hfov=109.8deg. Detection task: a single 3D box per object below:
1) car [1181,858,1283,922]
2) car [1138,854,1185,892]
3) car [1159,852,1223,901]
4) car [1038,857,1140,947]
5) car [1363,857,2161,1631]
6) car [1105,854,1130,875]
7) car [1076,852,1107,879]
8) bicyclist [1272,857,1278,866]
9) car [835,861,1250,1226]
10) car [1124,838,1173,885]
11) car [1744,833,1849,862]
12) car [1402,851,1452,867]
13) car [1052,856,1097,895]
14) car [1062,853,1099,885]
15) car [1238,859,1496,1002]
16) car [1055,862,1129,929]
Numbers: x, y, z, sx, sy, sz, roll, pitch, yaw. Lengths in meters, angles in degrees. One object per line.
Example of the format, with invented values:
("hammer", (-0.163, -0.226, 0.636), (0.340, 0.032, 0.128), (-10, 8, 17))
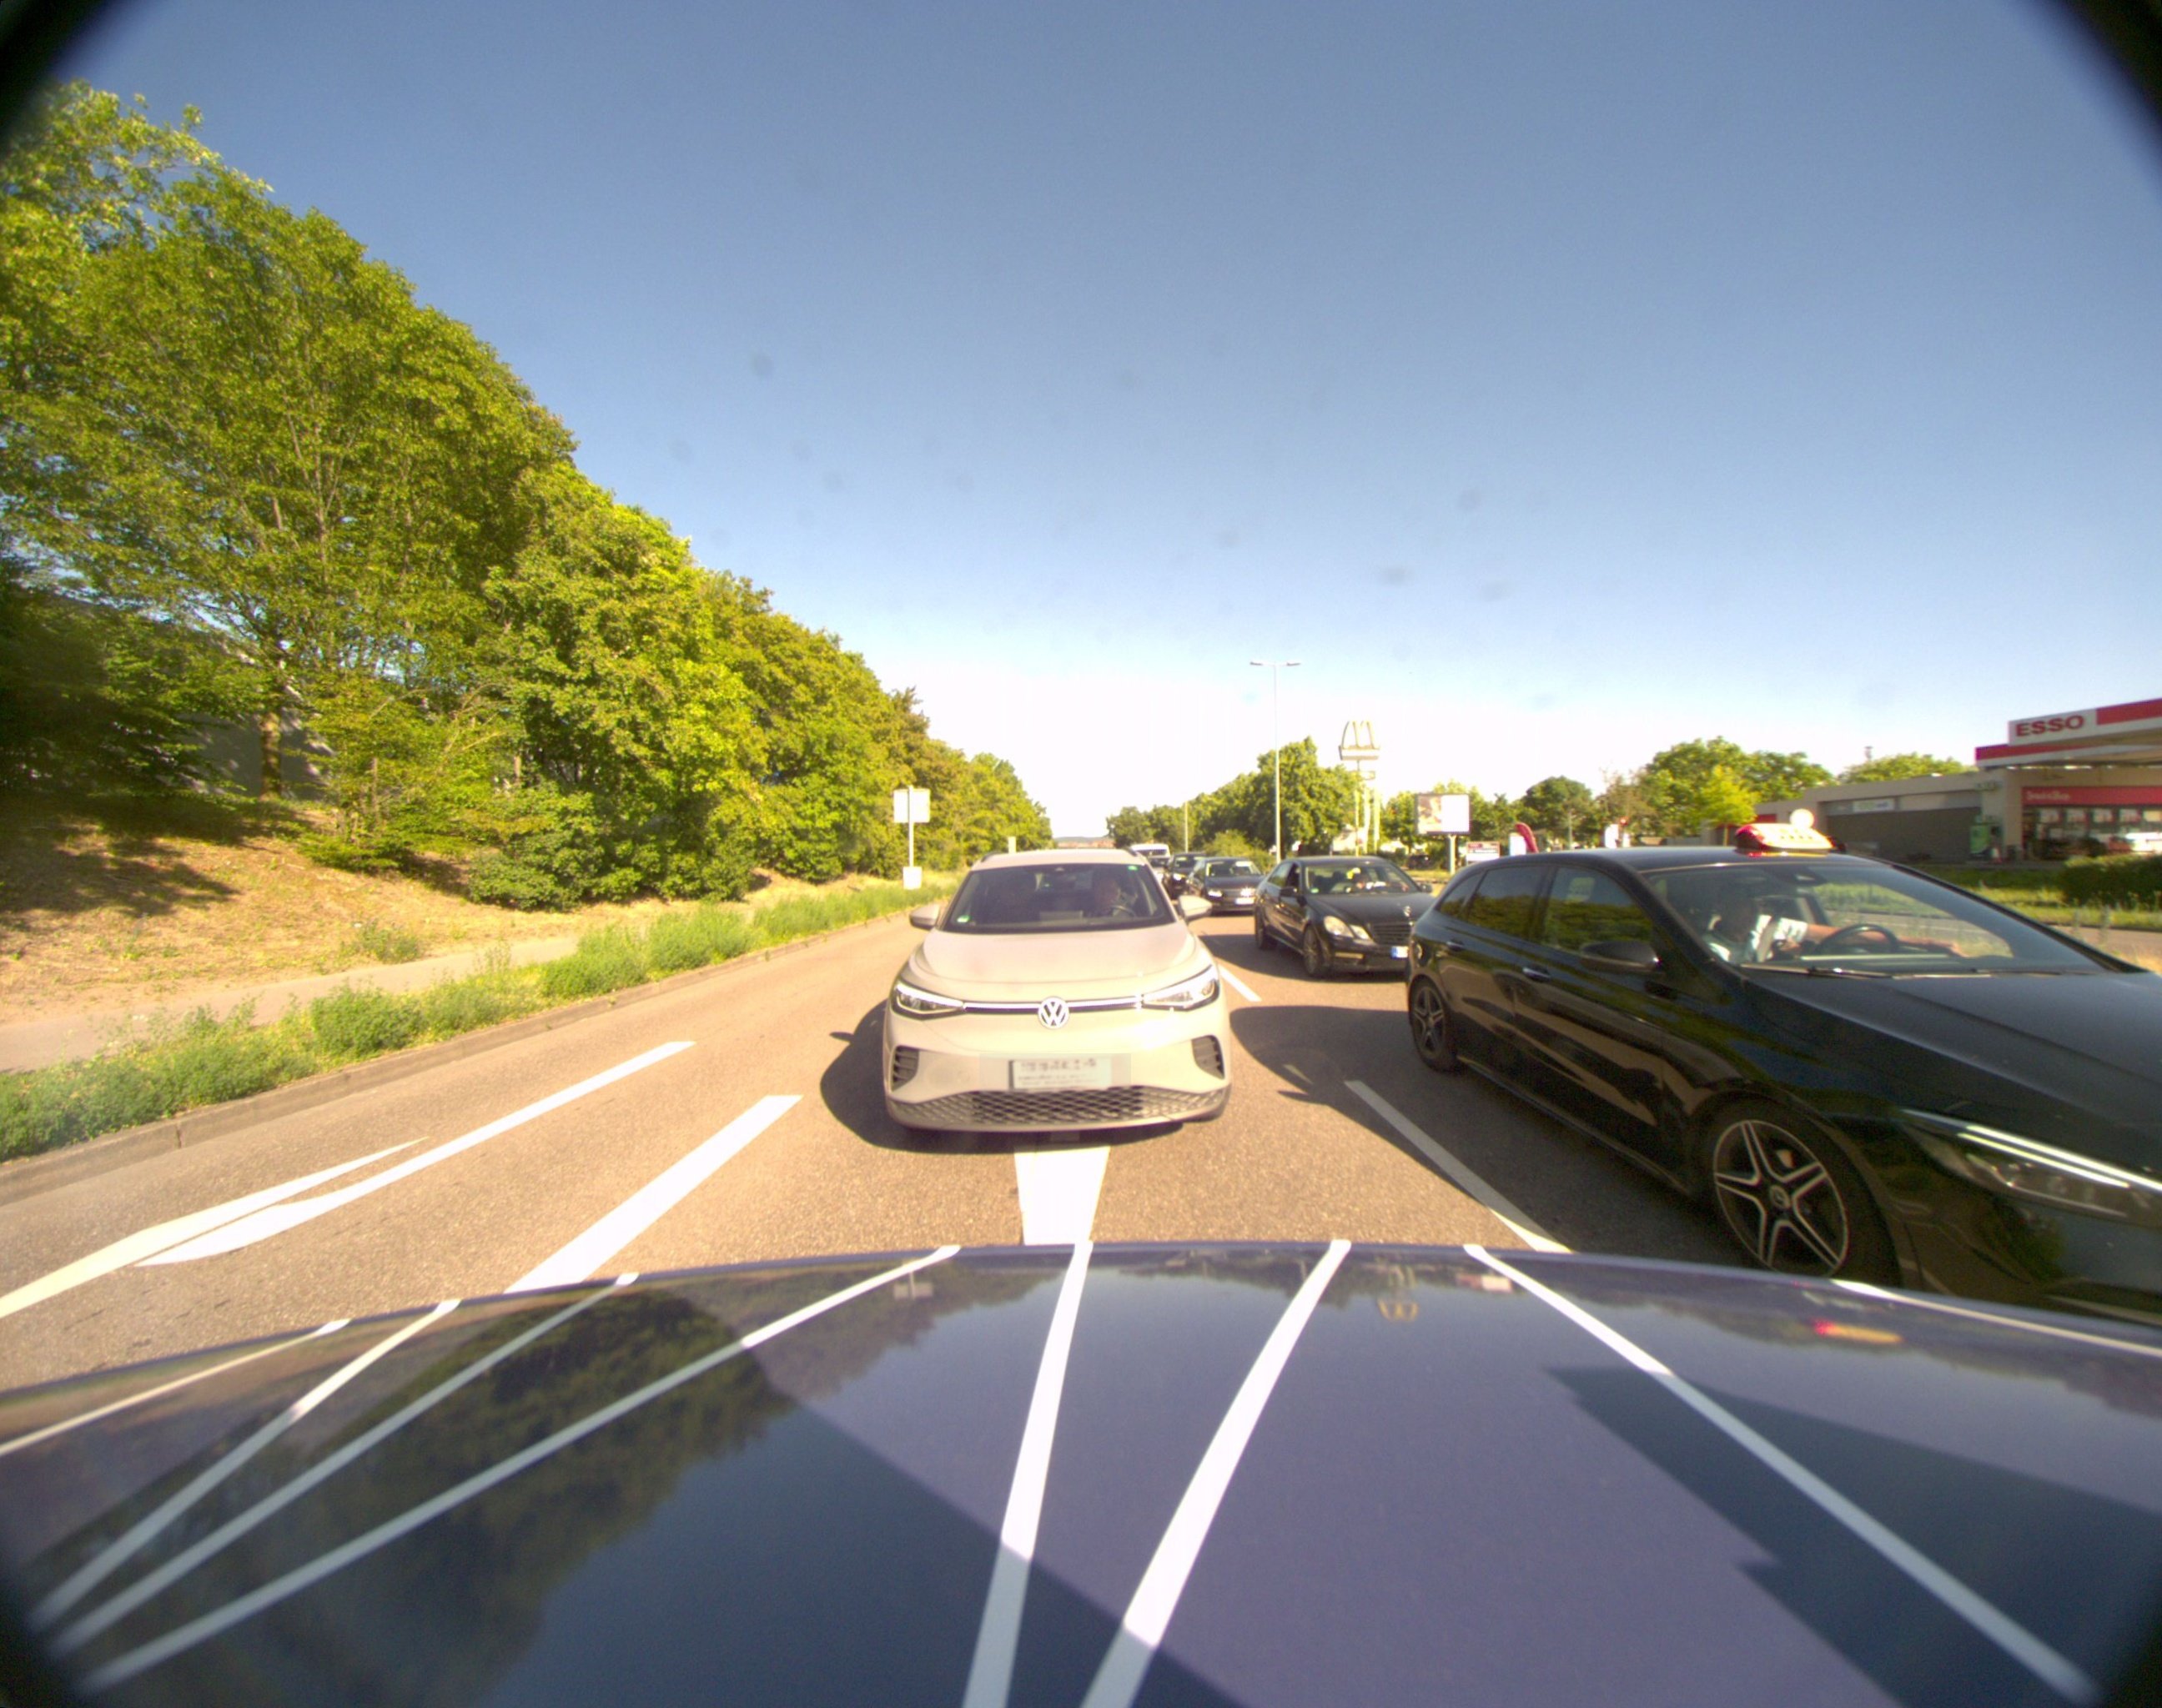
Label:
("car", (3.872, 0.863, 20.238), (1.797, 1.419, 4.287), (-2, 0, 0))
("car", (3.573, 0.795, 34.187), (1.635, 1.547, 3.777), (-2, 0, 0))
("car", (3.904, 0.760, 27.497), (1.674, 1.607, 3.879), (-2, 0, 0))
("car", (0.135, 0.874, 15.781), (1.763, 1.482, 4.402), (-2, 1, 0))
("car", (3.091, 0.819, 3.675), (1.763, 1.482, 4.402), (-2, 1, 0))
("car", (2.931, 0.822, 62.136), (1.763, 1.607, 4.402), (-2, 1, 0))
("car", (0.603, 0.695, 47.043), (1.763, 1.482, 4.402), (-2, 1, 0))
("bicyclist", (27.704, 1.124, 108.602), (0.629, 1.281, 0.700), (-2, 1, 1))
("car", (-0.182, 0.900, 5.724), (1.862, 1.573, 4.403), (-2, 0, 0))
("car", (3.652, 0.389, 42.171), (2.019, 2.349, 6.523), (-2, 0, 0))
("car", (37.378, -0.353, 39.827), (1.682, 1.401, 3.978), (1, 1, 0))
("car", (33.267, 0.470, 73.176), (3.975, 1.401, 1.764), (1, 1, 0))
("car", (-0.257, 0.884, 33.055), (1.763, 1.482, 4.402), (-2, 1, 0))
("car", (-0.043, 0.717, 39.876), (1.763, 1.482, 4.402), (-2, 1, 0))
("car", (3.589, 0.853, 10.521), (1.868, 1.430, 4.402), (-2, 1, 0))
("car", (0.265, 1.041, 20.949), (1.763, 1.482, 4.402), (-2, 1, 0))
